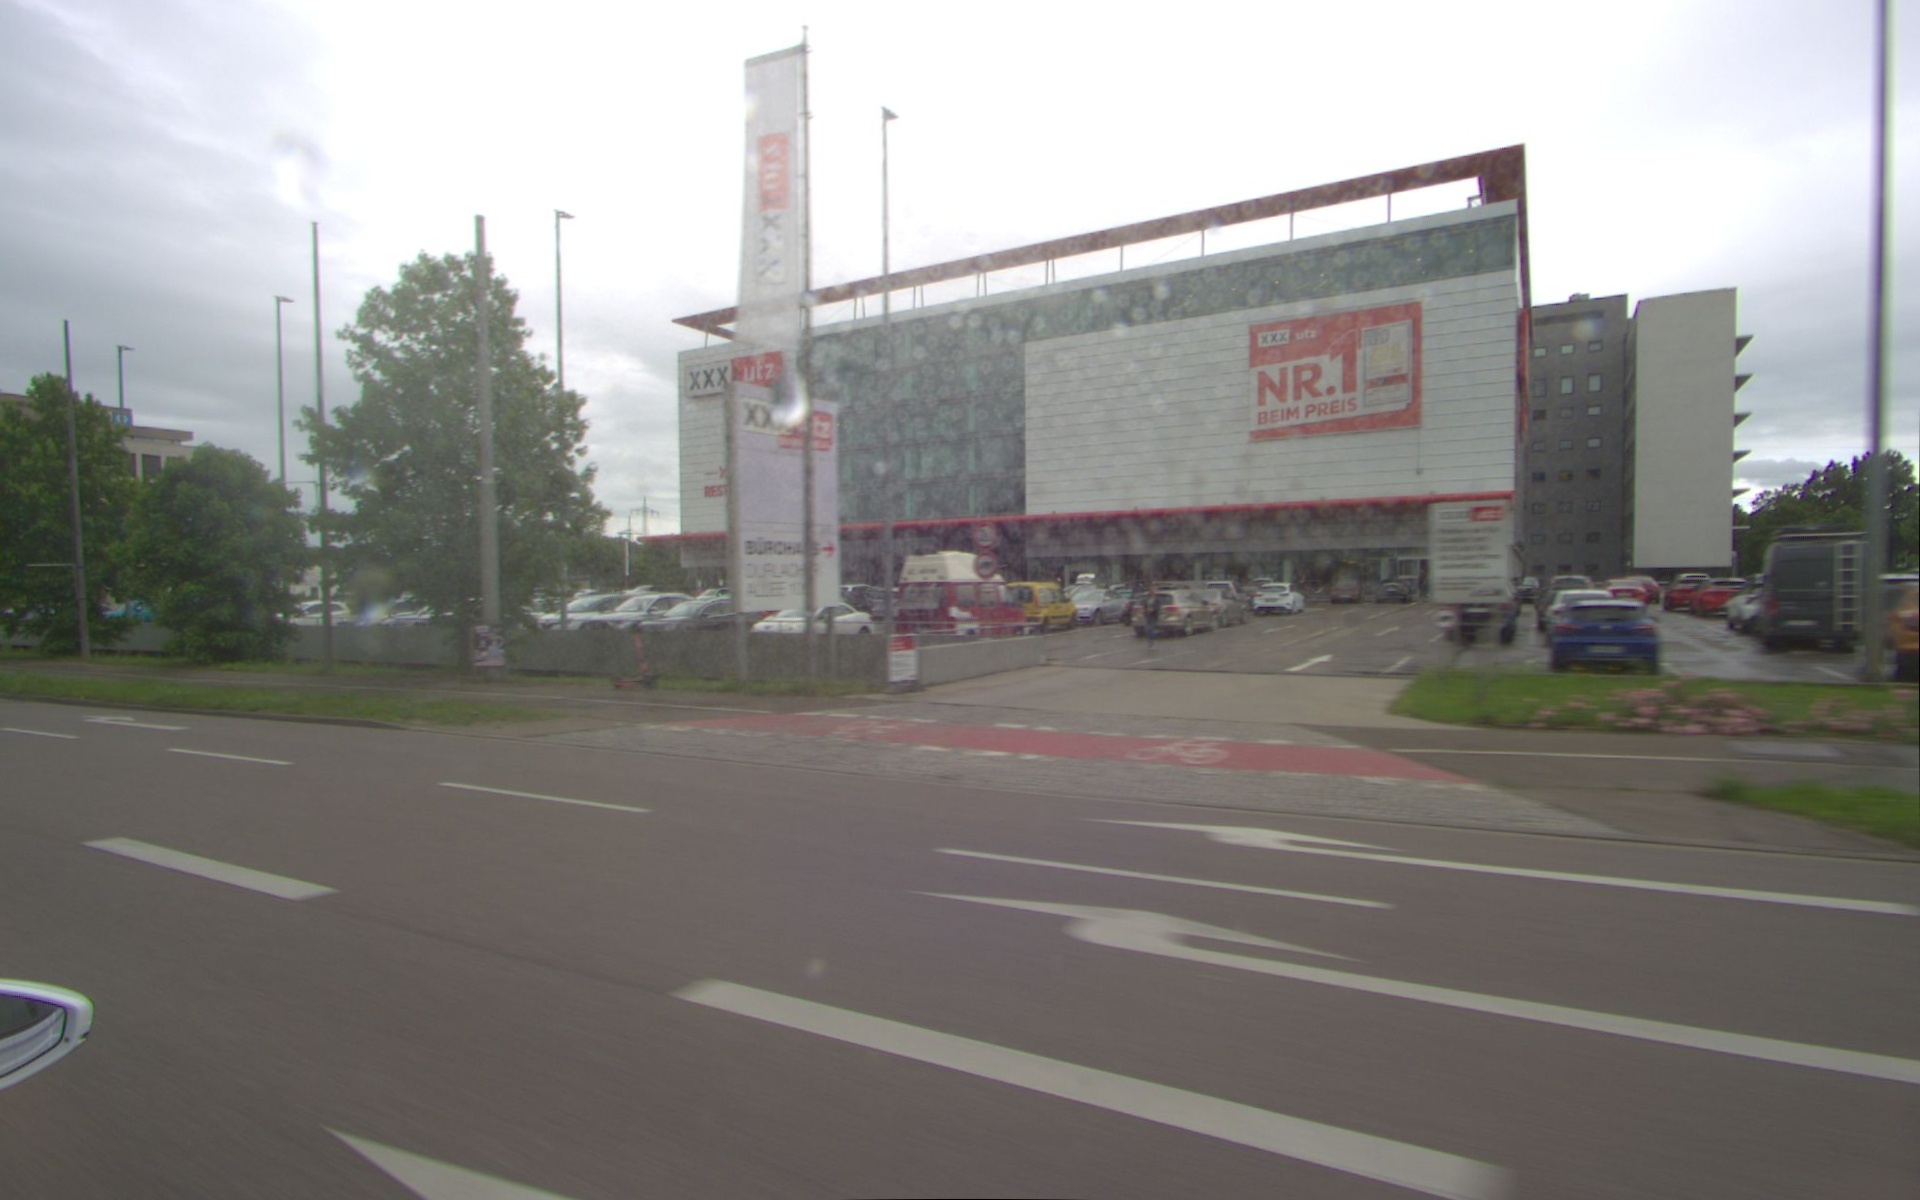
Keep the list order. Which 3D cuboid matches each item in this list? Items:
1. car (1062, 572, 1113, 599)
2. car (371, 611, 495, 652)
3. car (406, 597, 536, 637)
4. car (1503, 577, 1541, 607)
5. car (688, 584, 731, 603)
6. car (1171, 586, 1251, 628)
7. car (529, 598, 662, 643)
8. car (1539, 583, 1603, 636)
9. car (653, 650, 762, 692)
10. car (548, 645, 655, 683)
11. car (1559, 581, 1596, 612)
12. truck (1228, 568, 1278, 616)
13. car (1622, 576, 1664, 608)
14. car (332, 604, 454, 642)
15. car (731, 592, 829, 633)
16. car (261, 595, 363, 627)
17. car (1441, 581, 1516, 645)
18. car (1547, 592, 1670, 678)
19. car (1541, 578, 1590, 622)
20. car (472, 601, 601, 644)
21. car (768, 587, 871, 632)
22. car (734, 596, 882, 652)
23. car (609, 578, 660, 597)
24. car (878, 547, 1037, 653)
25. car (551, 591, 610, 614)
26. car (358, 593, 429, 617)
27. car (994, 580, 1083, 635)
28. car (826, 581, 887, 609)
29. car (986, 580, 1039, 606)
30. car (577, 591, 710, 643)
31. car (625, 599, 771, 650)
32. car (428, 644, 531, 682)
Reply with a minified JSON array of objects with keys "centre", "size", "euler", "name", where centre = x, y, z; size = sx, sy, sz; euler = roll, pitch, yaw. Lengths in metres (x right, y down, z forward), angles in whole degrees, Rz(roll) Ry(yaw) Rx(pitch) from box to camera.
[{"centre":[7.809,-0.888,61.080],"size":[1.803,1.575,3.787],"euler":[2,1,30],"name":"car"},{"centre":[-20.737,1.188,39.545],"size":[1.737,1.418,4.048],"euler":[2,1,30],"name":"car"},{"centre":[-18.362,0.602,37.760],"size":[1.782,1.368,4.146],"euler":[2,1,30],"name":"car"},{"centre":[30.959,-0.459,55.138],"size":[1.627,1.581,3.595],"euler":[1,2,32],"name":"car"},{"centre":[-21.683,-0.562,86.806],"size":[1.681,1.518,3.631],"euler":[2,1,26],"name":"car"},{"centre":[9.648,0.268,38.318],"size":[1.714,1.489,4.230],"euler":[2,1,32],"name":"car"},{"centre":[-12.334,0.656,34.115],"size":[1.807,1.368,4.048],"euler":[2,1,30],"name":"car"},{"centre":[19.461,0.294,31.900],"size":[1.633,1.576,3.659],"euler":[-1,0,32],"name":"car"},{"centre":[-9.701,2.684,38.754],"size":[1.739,1.368,4.046],"euler":[-1,-1,32],"name":"car"},{"centre":[-15.037,2.673,42.203],"size":[1.738,1.368,4.047],"euler":[-1,-1,31],"name":"car"},{"centre":[33.632,-0.178,54.565],"size":[1.627,1.580,3.597],"euler":[1,0,32],"name":"car"},{"centre":[15.396,-0.405,52.499],"size":[1.713,2.418,3.564],"euler":[-1,0,29],"name":"truck"},{"centre":[35.693,-0.442,52.361],"size":[1.627,1.581,3.595],"euler":[1,2,32],"name":"car"},{"centre":[-23.011,0.893,40.773],"size":[1.737,1.368,4.048],"euler":[2,1,30],"name":"car"},{"centre":[-7.680,0.531,43.034],"size":[1.808,1.686,4.162],"euler":[-1,0,33],"name":"car"},{"centre":[-28.857,0.464,44.688],"size":[1.580,1.325,3.512],"euler":[2,1,26],"name":"car"},{"centre":[15.130,0.310,29.149],"size":[1.803,1.677,3.885],"euler":[0,2,29],"name":"car"},{"centre":[12.419,0.600,19.318],"size":[1.788,1.474,3.979],"euler":[-1,0,32],"name":"car"},{"centre":[27.411,-0.011,45.311],"size":[1.787,1.867,3.670],"euler":[-1,0,32],"name":"car"},{"centre":[-14.998,0.751,35.663],"size":[1.737,1.368,4.048],"euler":[2,1,30],"name":"car"},{"centre":[-5.758,0.363,41.492],"size":[1.862,1.767,4.302],"euler":[2,1,33],"name":"car"},{"centre":[-4.374,0.647,29.406],"size":[1.932,1.481,4.365],"euler":[2,1,32],"name":"car"},{"centre":[-22.646,-0.864,69.701],"size":[1.440,1.246,3.247],"euler":[2,1,31],"name":"car"},{"centre":[0.040,-0.032,27.386],"size":[2.139,2.614,4.712],"euler":[2,1,32],"name":"car"},{"centre":[-27.091,0.170,71.495],"size":[1.678,1.537,3.621],"euler":[2,1,35],"name":"car"},{"centre":[-38.244,0.334,67.661],"size":[1.759,1.528,3.833],"euler":[1,1,33],"name":"car"},{"centre":[2.922,0.222,36.610],"size":[1.708,1.792,3.727],"euler":[2,3,32],"name":"car"},{"centre":[-6.154,-0.277,59.876],"size":[1.716,1.608,3.558],"euler":[-1,0,35],"name":"car"},{"centre":[3.279,-0.423,62.410],"size":[1.716,1.575,3.765],"euler":[2,1,31],"name":"car"},{"centre":[-10.332,0.523,32.963],"size":[1.738,1.561,4.045],"euler":[2,1,32],"name":"car"},{"centre":[-8.272,0.721,31.990],"size":[1.840,1.438,4.456],"euler":[2,1,32],"name":"car"},{"centre":[-22.211,2.884,46.453],"size":[1.738,1.572,4.048],"euler":[-1,-1,30],"name":"car"}]
